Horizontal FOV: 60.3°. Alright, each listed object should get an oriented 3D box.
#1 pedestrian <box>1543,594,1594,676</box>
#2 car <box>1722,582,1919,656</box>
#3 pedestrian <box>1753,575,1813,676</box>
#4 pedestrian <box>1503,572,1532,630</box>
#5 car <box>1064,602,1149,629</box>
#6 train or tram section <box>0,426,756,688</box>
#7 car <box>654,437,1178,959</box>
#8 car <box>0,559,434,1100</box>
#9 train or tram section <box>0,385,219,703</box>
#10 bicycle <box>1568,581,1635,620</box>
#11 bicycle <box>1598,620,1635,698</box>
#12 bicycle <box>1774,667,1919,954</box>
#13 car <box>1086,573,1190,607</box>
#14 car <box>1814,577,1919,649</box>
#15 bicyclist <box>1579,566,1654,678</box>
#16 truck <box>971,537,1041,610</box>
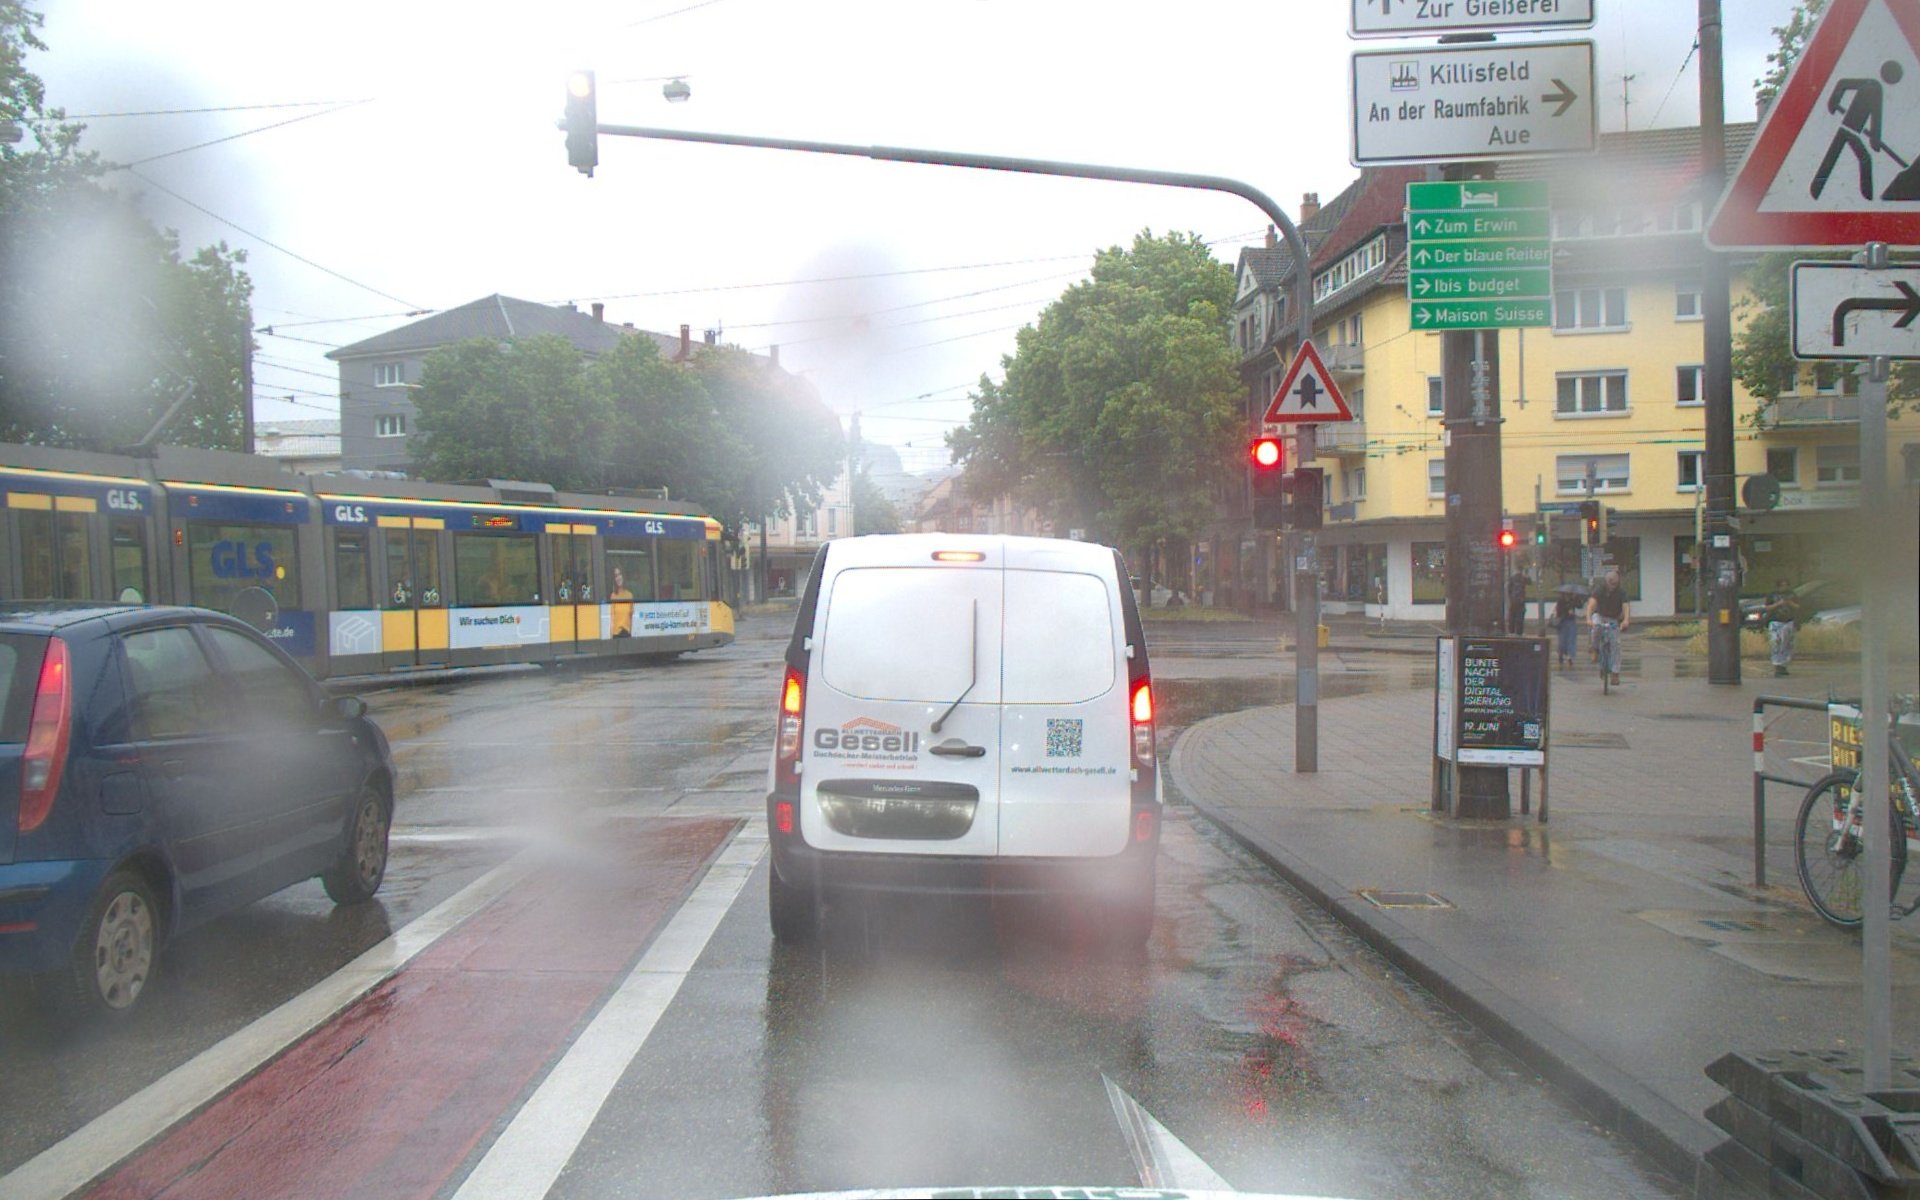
[{"bbox_3d":[11.685,0.665,31.761,0.809,1.561,0.614,1,0,-39],"label":"pedestrian"},{"bbox_3d":[20.862,0.467,39.090,4.832,1.672,2.001,0,-2,11],"label":"car"},{"bbox_3d":[14.173,0.434,28.502,0.886,1.698,1.019,0,0,25],"label":"pedestrian"},{"bbox_3d":[14.718,0.032,43.634,0.609,1.526,0.551,0,0,32],"label":"pedestrian"},{"bbox_3d":[6.236,0.655,70.448,3.378,1.150,1.469,0,0,-9],"label":"car"},{"bbox_3d":[-9.006,-0.553,29.778,3.468,3.472,15.502,1,0,22],"label":"train or tram section"},{"bbox_3d":[-0.208,0.389,8.992,2.058,2.047,4.962,0,0,-1],"label":"car"},{"bbox_3d":[-3.605,0.674,6.811,1.692,1.606,3.820,0,0,-1],"label":"car"},{"bbox_3d":[-12.853,-0.669,16.219,3.438,3.574,13.670,1,0,8],"label":"train or tram section"},{"bbox_3d":[21.553,0.009,55.607,2.056,1.283,0.532,0,1,14],"label":"bicycle"},{"bbox_3d":[9.699,0.844,24.471,0.449,1.045,1.902,0,1,20],"label":"bicycle"},{"bbox_3d":[4.255,0.914,7.097,0.503,1.126,2.017,3,0,1],"label":"bicycle"},{"bbox_3d":[7.405,-0.419,69.059,4.088,1.362,1.518,0,1,-8],"label":"car"},{"bbox_3d":[20.922,0.273,35.964,3.854,1.516,1.808,0,1,15],"label":"car"},{"bbox_3d":[9.685,0.318,24.431,0.859,1.611,0.861,0,0,9],"label":"bicyclist"},{"bbox_3d":[3.359,-1.920,126.613,3.403,5.176,15.287,0,0,-6],"label":"truck"}]
